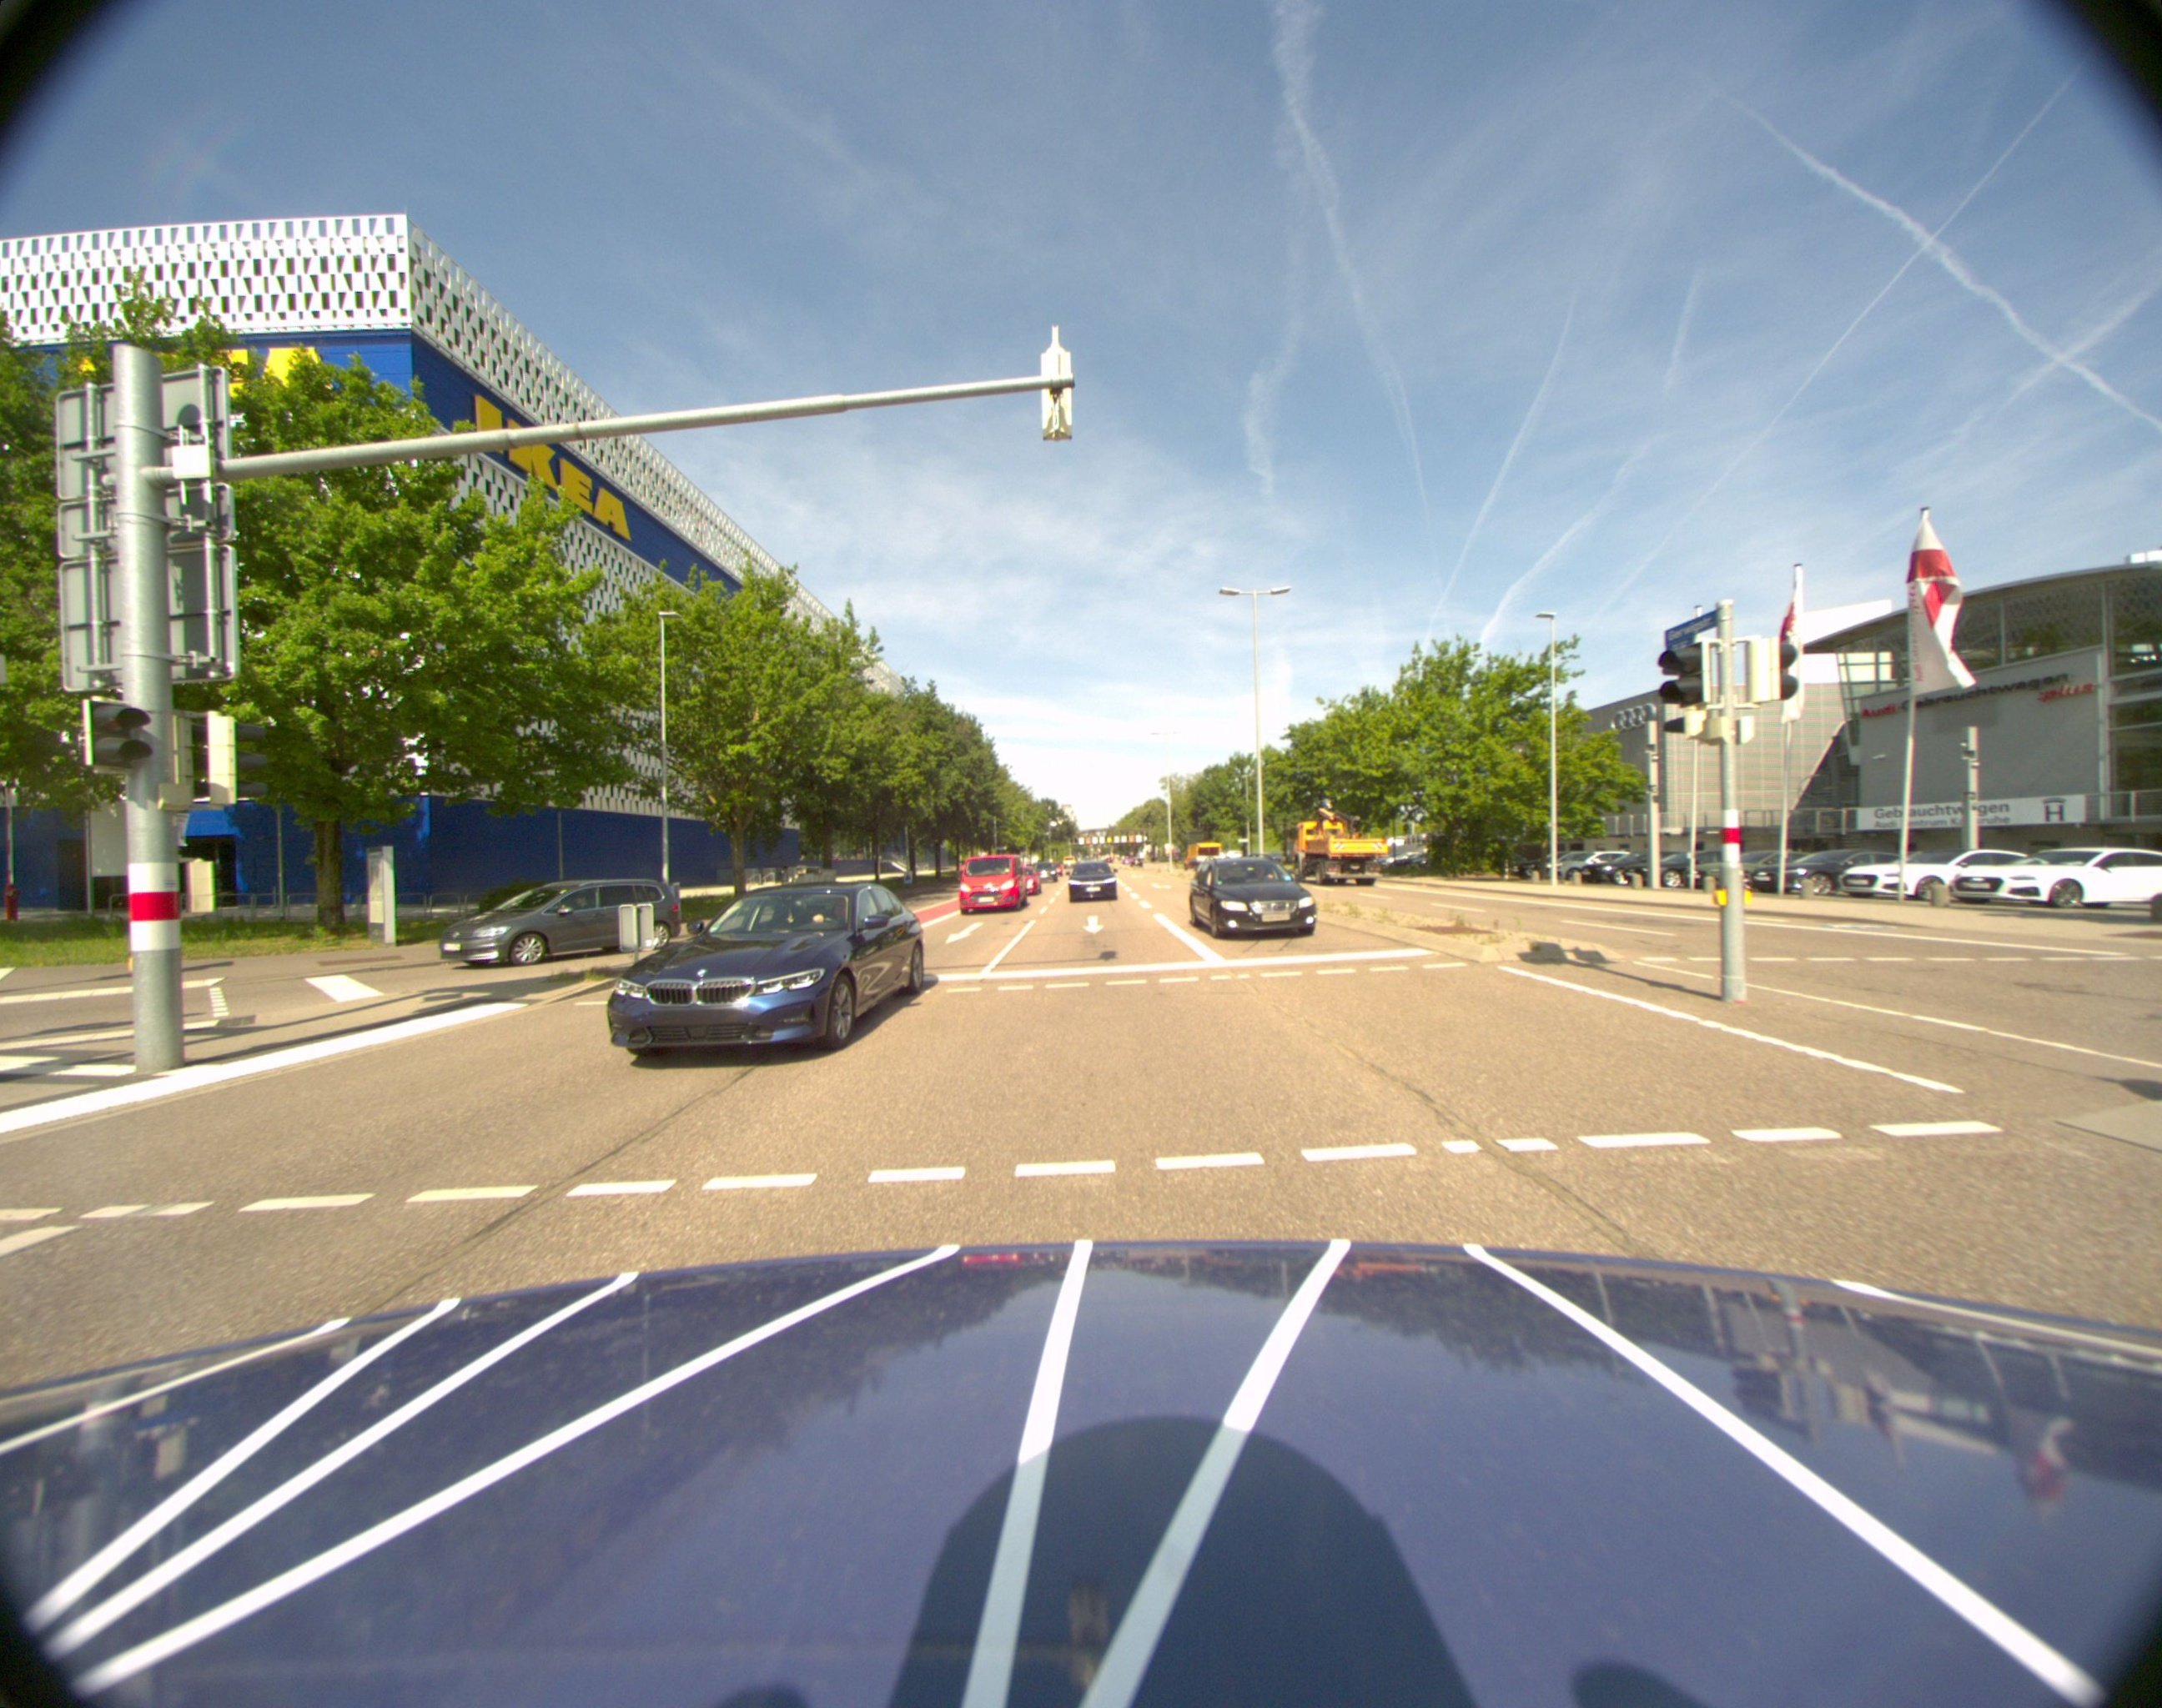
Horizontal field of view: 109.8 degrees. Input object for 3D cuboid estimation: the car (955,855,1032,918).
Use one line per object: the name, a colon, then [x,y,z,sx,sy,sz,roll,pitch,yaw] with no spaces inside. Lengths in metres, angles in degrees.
car: [-2.955,1.036,26.726,2.014,1.896,4.809,-4,0,0]

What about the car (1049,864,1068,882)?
car: [-2.242,1.863,76.446,1.649,1.530,4.000,-5,0,0]

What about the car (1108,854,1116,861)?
car: [7.958,0.902,194.763,1.866,1.503,4.001,-1,0,3]

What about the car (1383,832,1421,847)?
car: [41.174,-1.864,97.584,4.196,1.722,1.690,1,0,2]

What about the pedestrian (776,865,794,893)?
pedestrian: [-16.894,1.408,43.355,0.680,1.537,0.780,-2,1,1]

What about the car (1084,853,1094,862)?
car: [1.859,0.796,177.646,1.998,2.002,3.999,-4,1,0]

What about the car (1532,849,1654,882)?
car: [22.808,0.494,33.960,4.226,1.387,1.802,1,0,0]

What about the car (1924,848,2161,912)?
car: [22.553,0.575,17.517,4.082,1.362,1.878,1,0,1]

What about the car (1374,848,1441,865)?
car: [24.008,0.185,55.938,4.196,1.188,1.690,1,0,2]

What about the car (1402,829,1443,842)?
car: [41.559,-2.273,92.387,4.196,1.490,1.690,1,0,2]

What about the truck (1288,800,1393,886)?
truck: [12.190,-0.497,36.459,2.753,3.659,7.580,0,0,3]

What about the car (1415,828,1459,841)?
car: [40.717,-2.274,87.039,4.196,1.397,1.690,1,0,2]

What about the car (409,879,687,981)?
car: [-11.057,1.460,16.185,1.995,1.646,4.398,-1,1,24]

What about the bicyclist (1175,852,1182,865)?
bicyclist: [12.340,0.604,96.138,0.578,1.587,0.910,-1,1,-8]

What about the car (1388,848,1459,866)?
car: [24.072,0.202,53.440,4.196,1.239,1.690,1,0,2]

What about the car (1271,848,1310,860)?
car: [25.044,-0.020,90.801,4.196,1.315,1.690,1,0,2]

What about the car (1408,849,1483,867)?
car: [24.217,0.260,50.579,4.196,1.116,1.719,1,0,2]

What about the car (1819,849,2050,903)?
car: [22.610,0.547,20.254,3.997,1.311,1.868,1,0,1]

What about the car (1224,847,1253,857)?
car: [24.968,-0.280,120.323,4.196,1.490,1.690,1,0,2]

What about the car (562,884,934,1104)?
car: [-2.918,1.133,7.920,1.800,1.420,4.538,-3,-1,0]

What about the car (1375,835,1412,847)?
car: [41.219,-1.727,100.243,4.196,1.490,1.690,1,0,2]

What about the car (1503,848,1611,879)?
car: [22.913,0.465,36.676,4.034,1.394,1.809,1,0,0]

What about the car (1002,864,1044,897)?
car: [-2.772,1.258,37.270,1.692,1.414,3.915,-3,0,0]

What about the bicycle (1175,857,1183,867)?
bicycle: [12.350,1.006,96.136,0.573,1.143,1.768,-1,0,-8]

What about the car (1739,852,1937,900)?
car: [22.518,0.625,22.719,3.996,1.311,1.838,1,0,2]

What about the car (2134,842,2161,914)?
car: [23.150,0.479,13.851,1.802,1.487,4.425,-1,0,1]

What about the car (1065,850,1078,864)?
car: [-1.532,0.461,123.497,1.998,2.002,3.999,-4,1,0]

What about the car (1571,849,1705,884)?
car: [22.835,0.490,31.252,4.121,1.346,1.835,1,0,-1]

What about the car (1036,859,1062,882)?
car: [-2.365,1.204,56.721,1.649,1.530,4.000,-5,0,0]

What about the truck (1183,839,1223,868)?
truck: [11.784,-0.044,74.036,2.382,2.609,6.671,-2,0,-3]

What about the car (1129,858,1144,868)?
car: [8.694,1.368,119.131,1.851,1.451,4.663,1,0,-1]

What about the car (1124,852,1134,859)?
car: [9.196,0.254,146.213,1.732,1.430,3.870,0,0,1]

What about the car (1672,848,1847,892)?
car: [22.737,0.517,25.572,4.185,1.327,1.854,1,0,0]

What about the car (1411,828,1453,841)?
car: [41.420,-2.291,89.656,4.196,1.490,1.690,1,0,2]

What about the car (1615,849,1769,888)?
car: [22.852,0.525,28.547,4.291,1.346,1.830,1,0,0]

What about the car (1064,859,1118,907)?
car: [0.435,1.051,29.372,1.847,1.530,4.000,-5,0,2]

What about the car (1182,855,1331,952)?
car: [3.283,0.835,15.267,1.882,1.513,4.869,-4,0,1]
